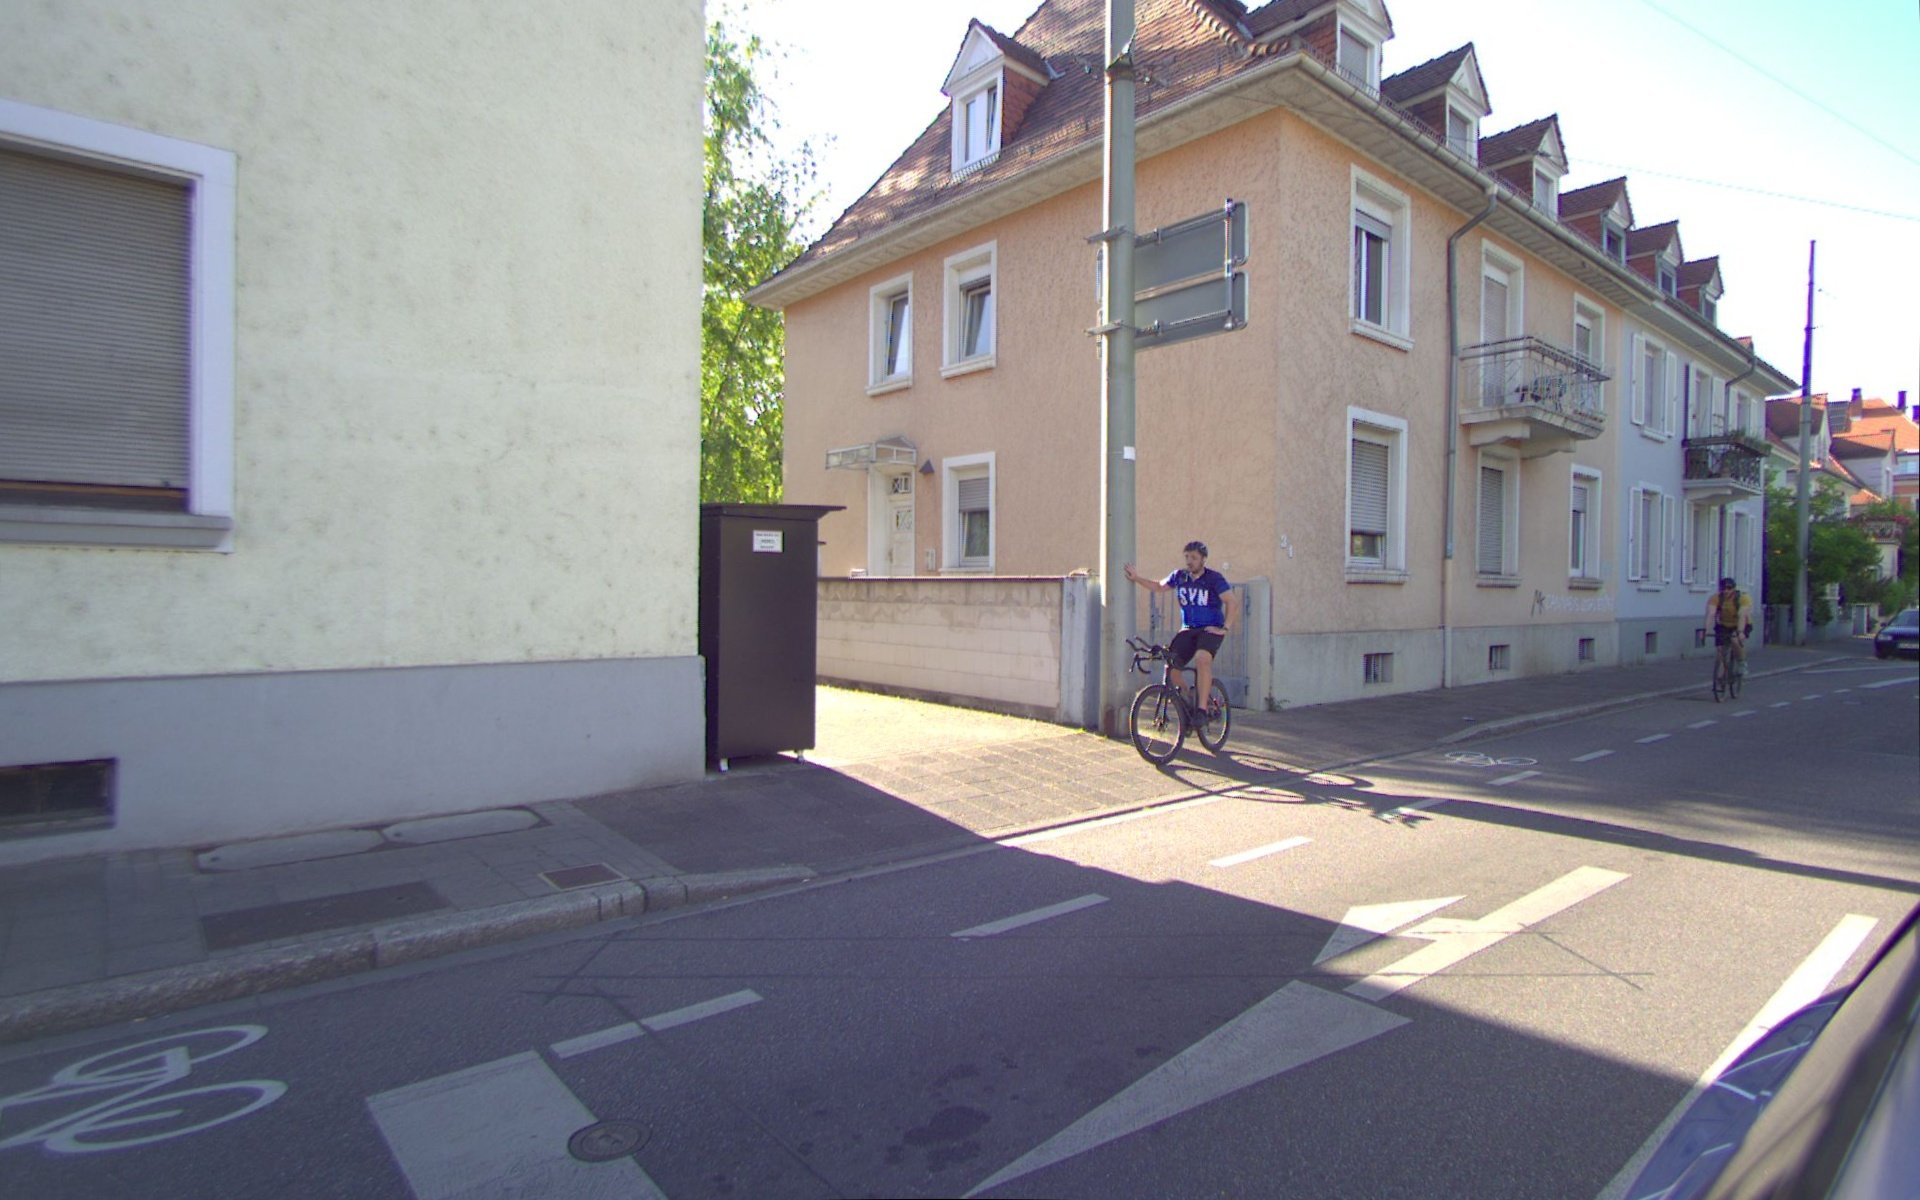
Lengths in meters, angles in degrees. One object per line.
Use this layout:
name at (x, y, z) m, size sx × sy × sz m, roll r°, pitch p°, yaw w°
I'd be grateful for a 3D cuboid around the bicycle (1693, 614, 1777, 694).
bicycle at (11.889, 0.798, 15.509) m, size 1.774 × 1.118 × 0.685 m, roll -1°, pitch 0°, yaw -41°

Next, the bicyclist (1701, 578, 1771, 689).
bicyclist at (11.889, 0.487, 15.509) m, size 0.841 × 1.641 × 0.685 m, roll 0°, pitch 0°, yaw -41°

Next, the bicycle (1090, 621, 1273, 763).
bicycle at (2.008, 0.769, 9.035) m, size 1.744 × 1.081 × 0.592 m, roll 0°, pitch 5°, yaw -41°

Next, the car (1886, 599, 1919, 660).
car at (26.688, 0.751, 27.378) m, size 3.742 × 1.601 × 1.696 m, roll 0°, pitch -1°, yaw -36°

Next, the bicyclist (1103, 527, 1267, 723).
bicyclist at (2.054, 0.192, 9.306) m, size 0.870 × 1.627 × 1.052 m, roll 1°, pitch 5°, yaw -41°
